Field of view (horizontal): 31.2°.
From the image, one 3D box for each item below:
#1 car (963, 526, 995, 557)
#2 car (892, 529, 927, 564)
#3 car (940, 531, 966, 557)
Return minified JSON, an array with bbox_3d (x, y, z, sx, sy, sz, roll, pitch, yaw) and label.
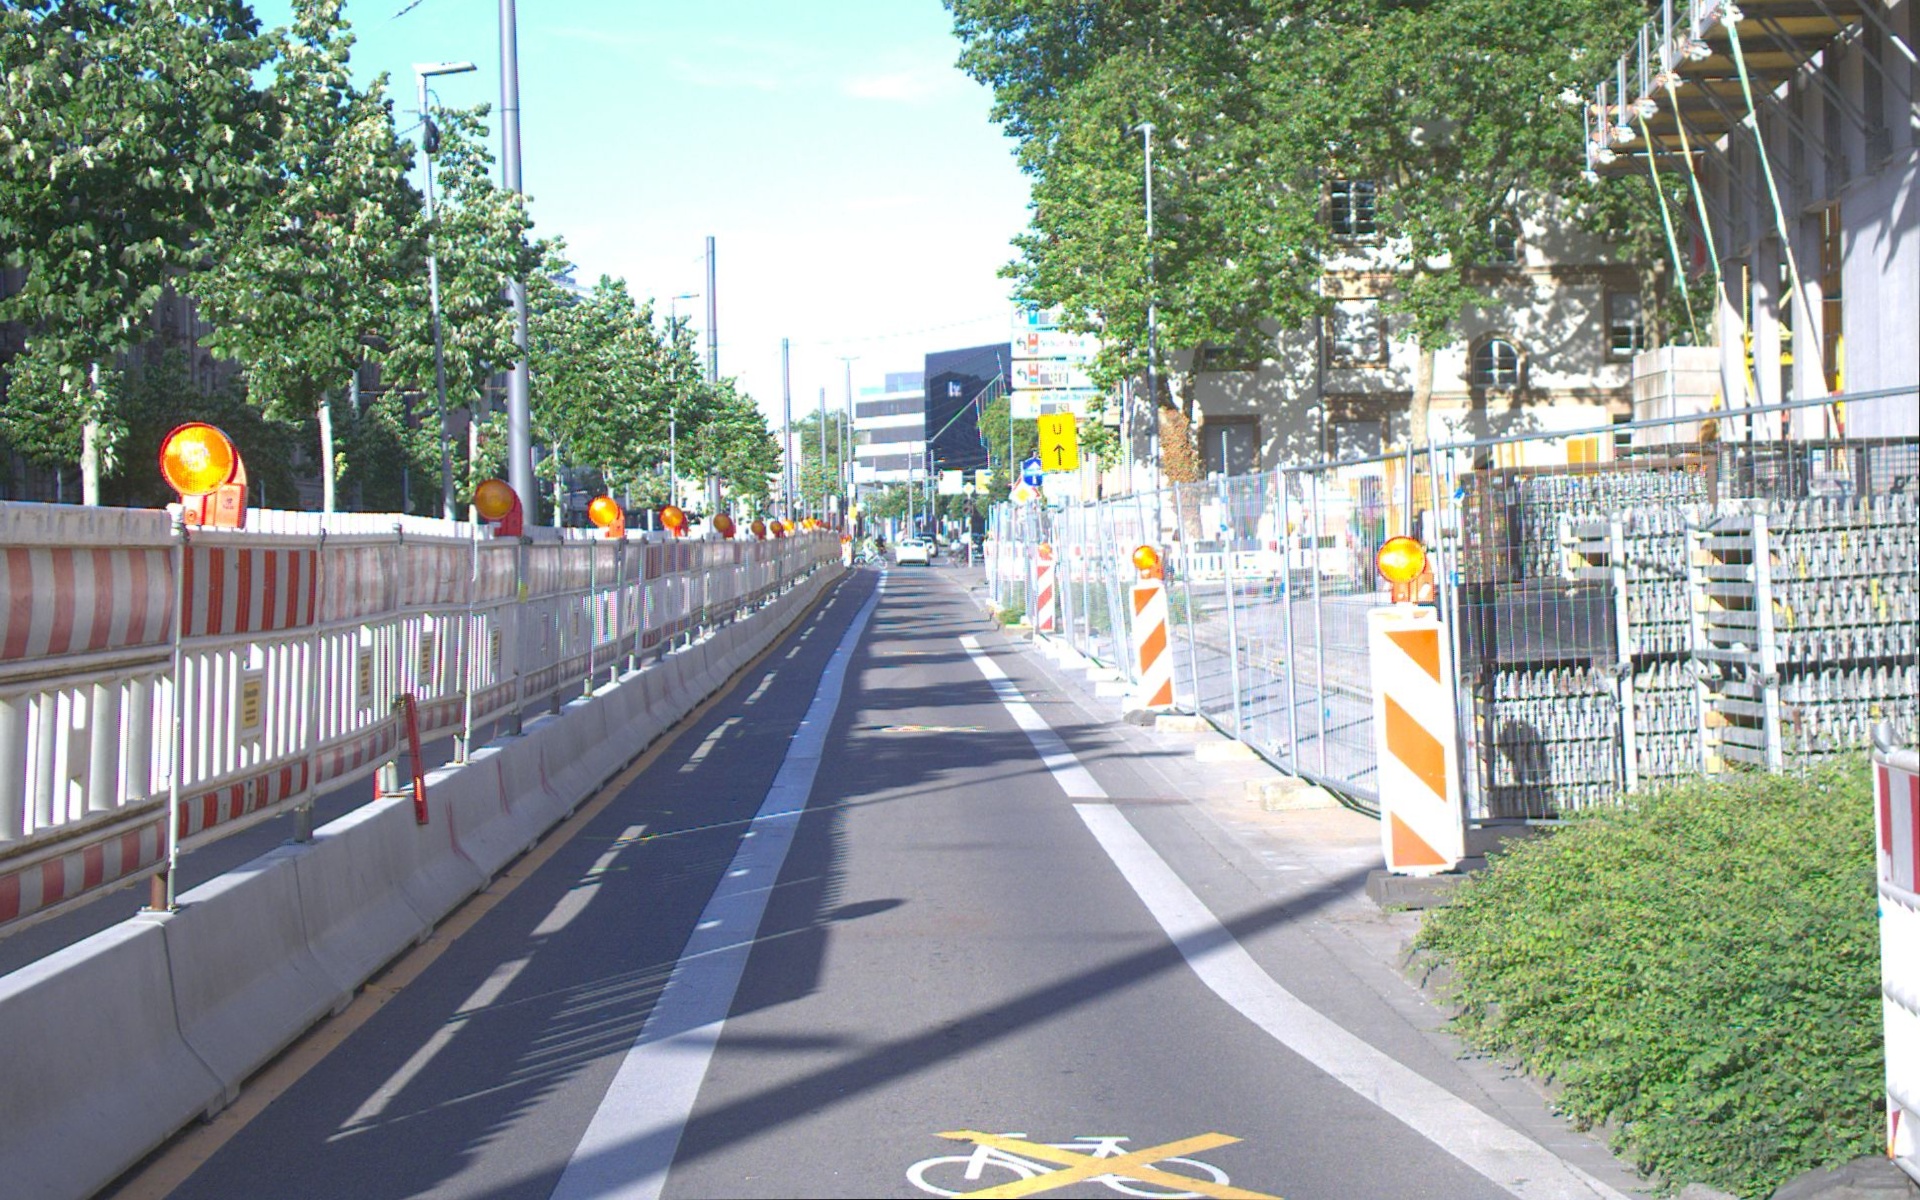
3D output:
[{"bbox_3d":[1.143,-3.664,213.779,1.883,1.836,3.668,-1,1,-1],"label":"car"},{"bbox_3d":[-2.801,-2.972,191.032,1.883,1.836,3.668,-1,1,-1],"label":"car"},{"bbox_3d":[-0.526,-4.092,252.509,1.883,1.836,3.668,-1,1,-1],"label":"car"}]
